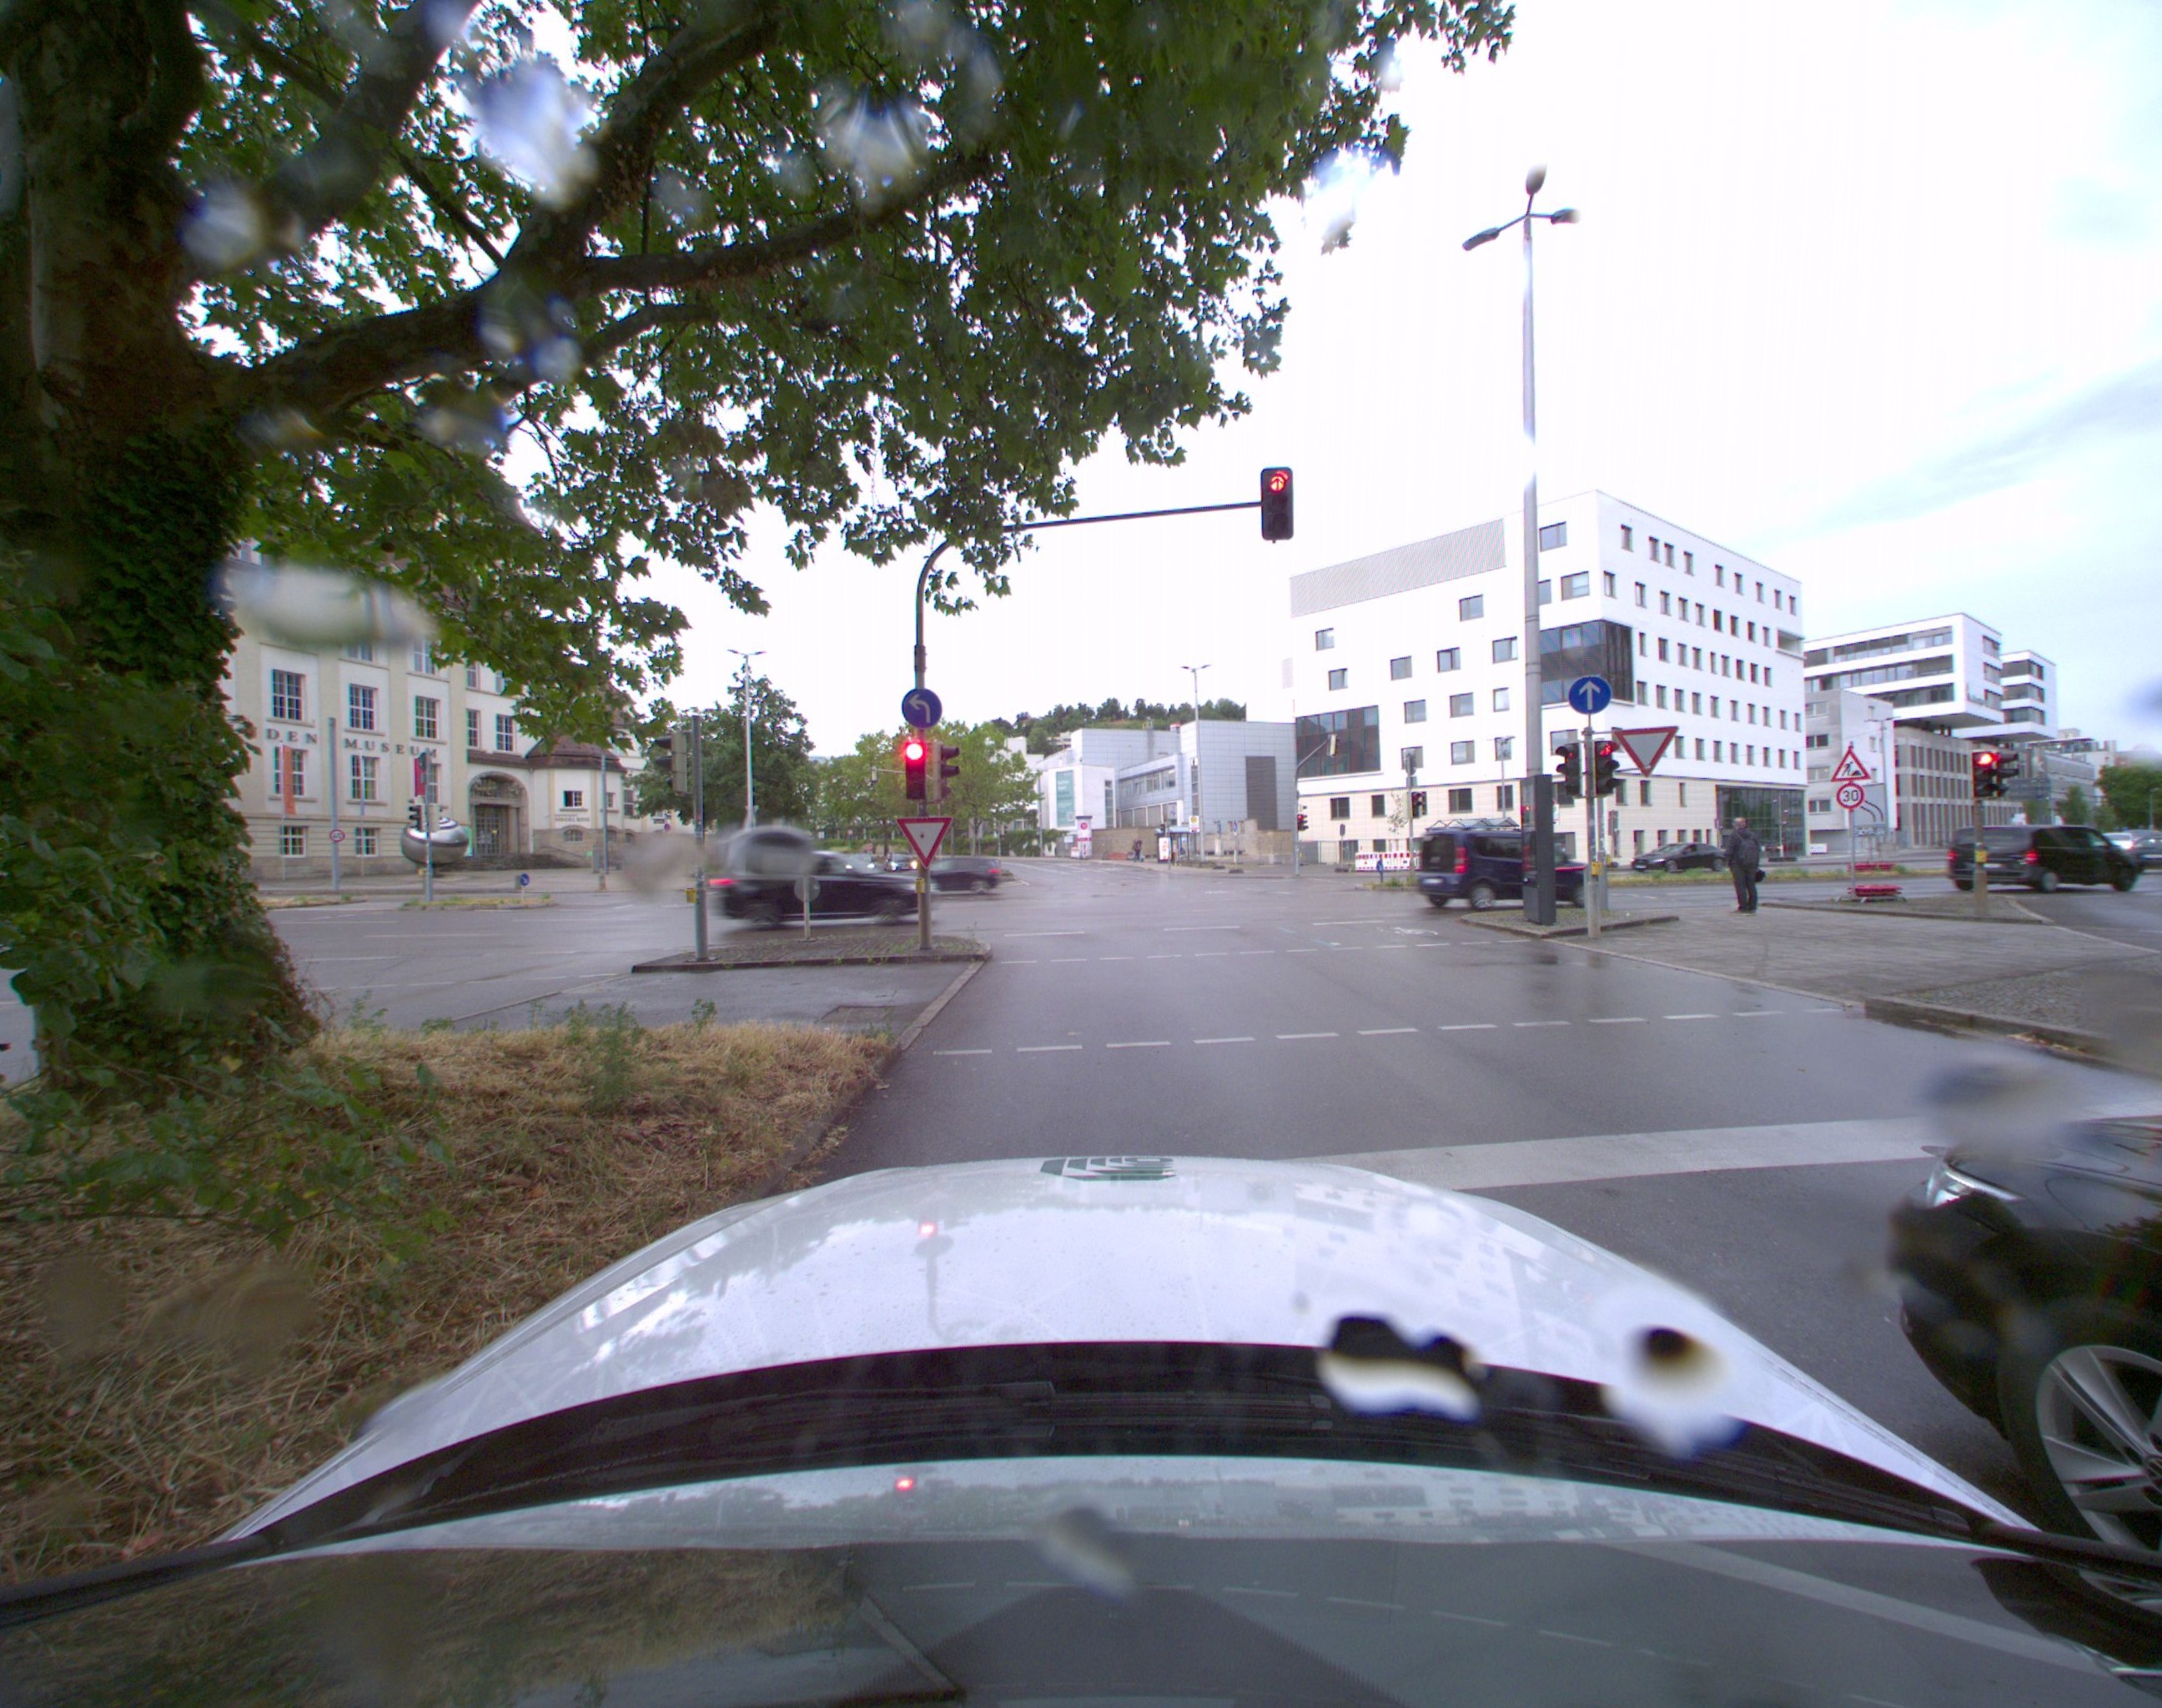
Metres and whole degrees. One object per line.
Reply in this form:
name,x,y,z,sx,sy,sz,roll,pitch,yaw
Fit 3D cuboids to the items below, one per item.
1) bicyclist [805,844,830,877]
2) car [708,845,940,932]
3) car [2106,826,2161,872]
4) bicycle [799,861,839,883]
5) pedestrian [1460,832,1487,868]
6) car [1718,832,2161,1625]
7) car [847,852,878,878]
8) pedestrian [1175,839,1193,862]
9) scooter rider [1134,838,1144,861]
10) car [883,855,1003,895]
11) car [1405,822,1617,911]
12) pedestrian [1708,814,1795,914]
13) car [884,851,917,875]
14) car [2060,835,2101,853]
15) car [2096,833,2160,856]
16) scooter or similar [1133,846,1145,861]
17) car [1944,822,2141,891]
bicyclist,-13.028,0.321,40.223,1.127,1.633,0.698,0,-1,-16
car,-5.553,0.712,18.195,4.672,1.705,1.792,-1,1,-10
car,41.901,-0.254,31.043,4.970,1.673,1.987,-2,0,-19
bicycle,-12.927,0.865,40.242,1.819,1.056,0.644,-1,-1,-17
pedestrian,20.173,-0.179,41.901,0.951,1.840,0.821,0,-1,-10
car,2.828,0.711,0.314,1.664,1.466,4.512,-1,1,0
car,-14.591,0.699,54.290,1.871,1.564,4.254,-2,1,-15
pedestrian,7.771,-0.230,61.523,1.253,1.719,1.016,0,-1,0
scooter rider,4.935,-0.389,69.179,0.725,1.883,0.628,0,-1,-18
car,-5.203,0.772,31.273,4.367,1.378,1.996,-1,0,-6
car,10.134,0.248,19.318,4.297,1.908,1.791,-1,1,-12
pedestrian,13.138,0.206,15.984,0.826,1.892,1.025,0,-1,-7
car,-12.903,0.593,58.201,1.795,1.584,3.973,-2,1,-20
car,78.705,-0.810,64.146,4.409,1.378,1.977,-1,0,-39
car,66.053,-0.583,51.367,4.402,1.378,1.980,-1,0,-32
scooter or similar,4.905,-0.038,69.227,0.593,1.239,1.305,1,-1,-19
car,27.314,0.035,23.152,4.785,1.809,1.988,-1,0,-19
